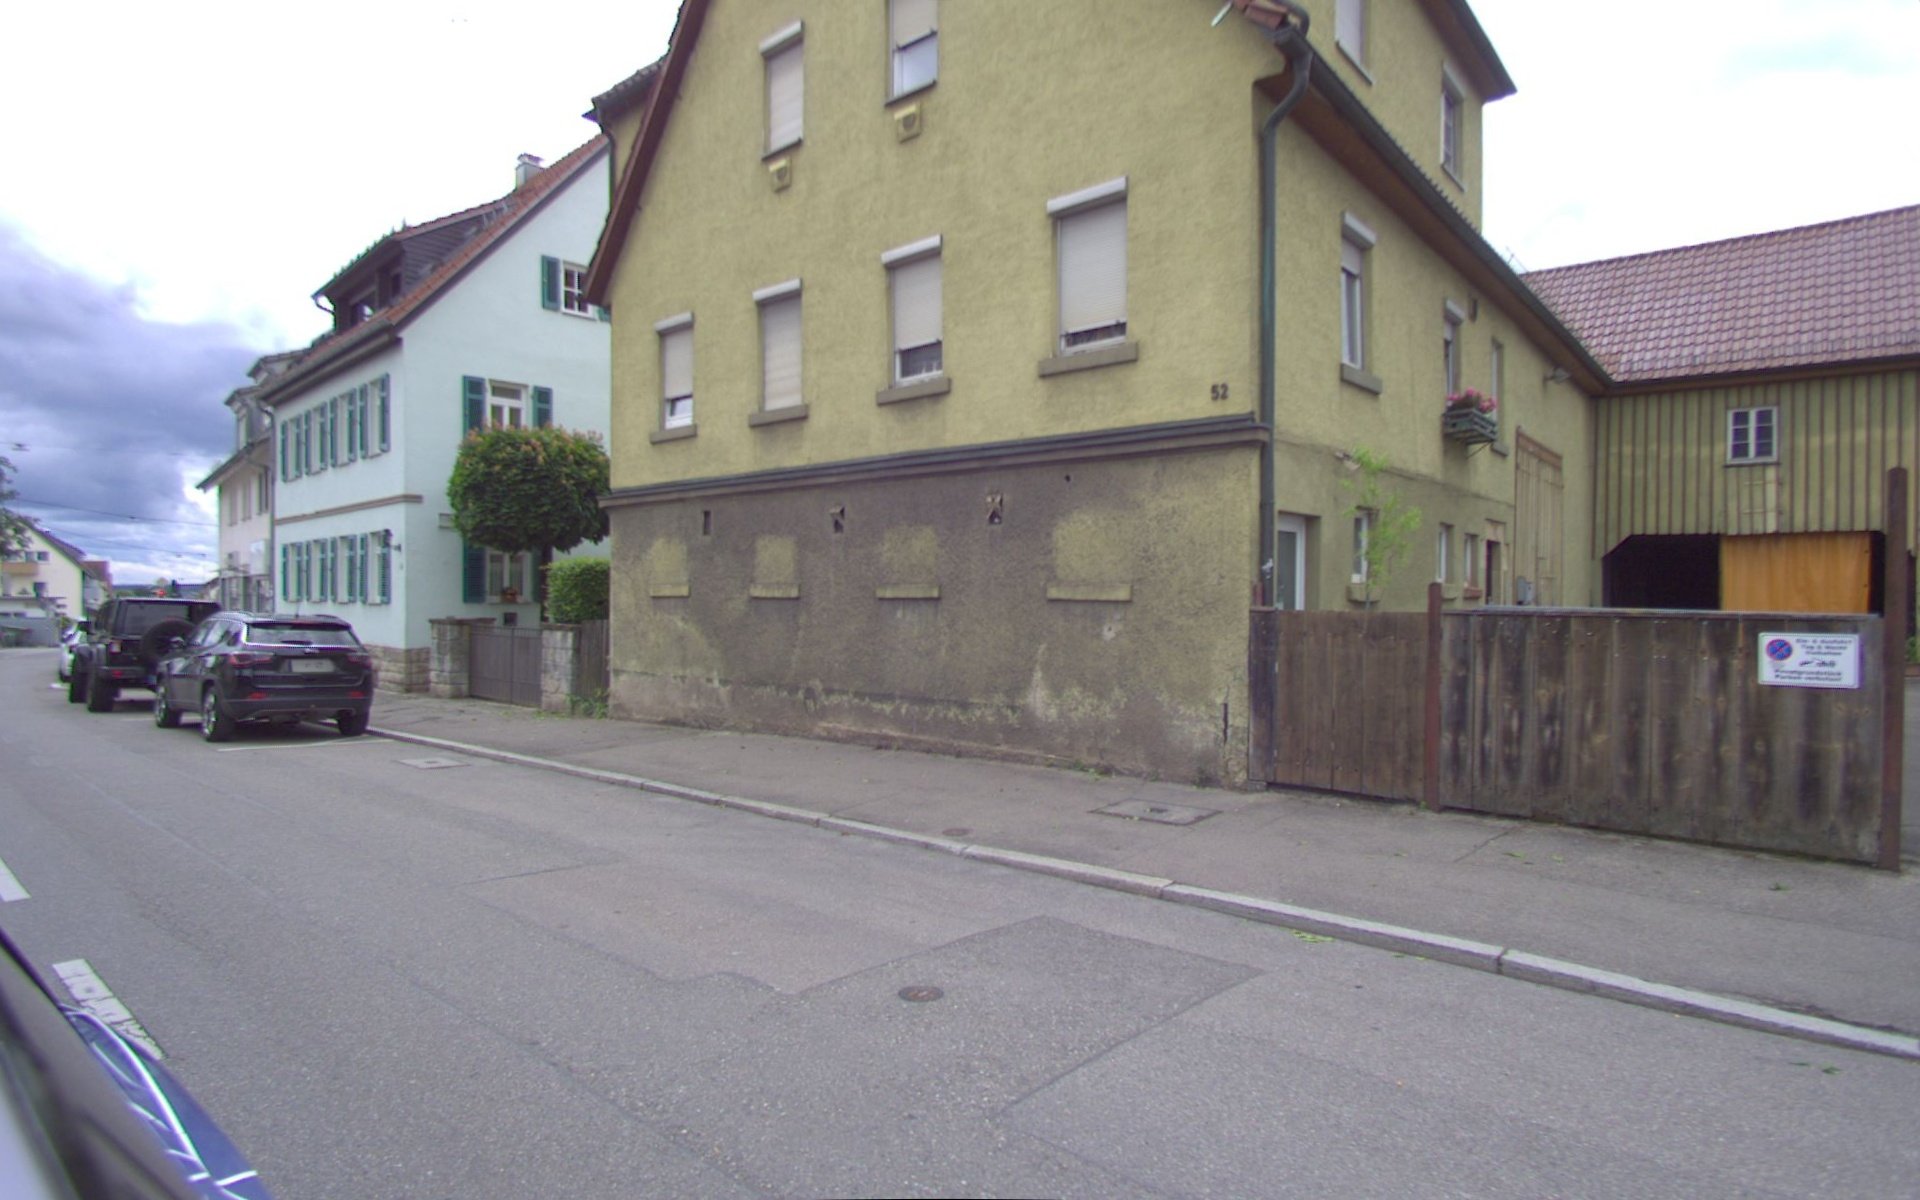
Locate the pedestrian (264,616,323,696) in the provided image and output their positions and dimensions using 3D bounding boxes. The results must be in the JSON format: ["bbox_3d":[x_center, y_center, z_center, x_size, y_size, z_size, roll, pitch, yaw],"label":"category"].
[{"bbox_3d":[-13.417,1.102,20.369,0.796,1.511,0.977,-2,1,-43],"label":"pedestrian"}]

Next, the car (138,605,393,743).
[{"bbox_3d":[-9.830,0.994,14.186,4.523,1.631,1.877,-3,-4,41],"label":"car"}]

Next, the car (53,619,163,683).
[{"bbox_3d":[-21.564,1.242,25.556,1.974,1.447,3.923,0,-1,-43],"label":"car"}]

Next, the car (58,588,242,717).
[{"bbox_3d":[-14.706,0.916,18.279,4.672,2.029,1.971,-2,-4,44],"label":"car"}]

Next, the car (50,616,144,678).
[{"bbox_3d":[-25.291,1.323,29.695,1.973,1.645,4.865,0,-1,-41],"label":"car"}]

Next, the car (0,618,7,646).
[{"bbox_3d":[-63.277,2.067,65.680,1.724,1.753,4.579,3,-4,-39],"label":"car"}]
